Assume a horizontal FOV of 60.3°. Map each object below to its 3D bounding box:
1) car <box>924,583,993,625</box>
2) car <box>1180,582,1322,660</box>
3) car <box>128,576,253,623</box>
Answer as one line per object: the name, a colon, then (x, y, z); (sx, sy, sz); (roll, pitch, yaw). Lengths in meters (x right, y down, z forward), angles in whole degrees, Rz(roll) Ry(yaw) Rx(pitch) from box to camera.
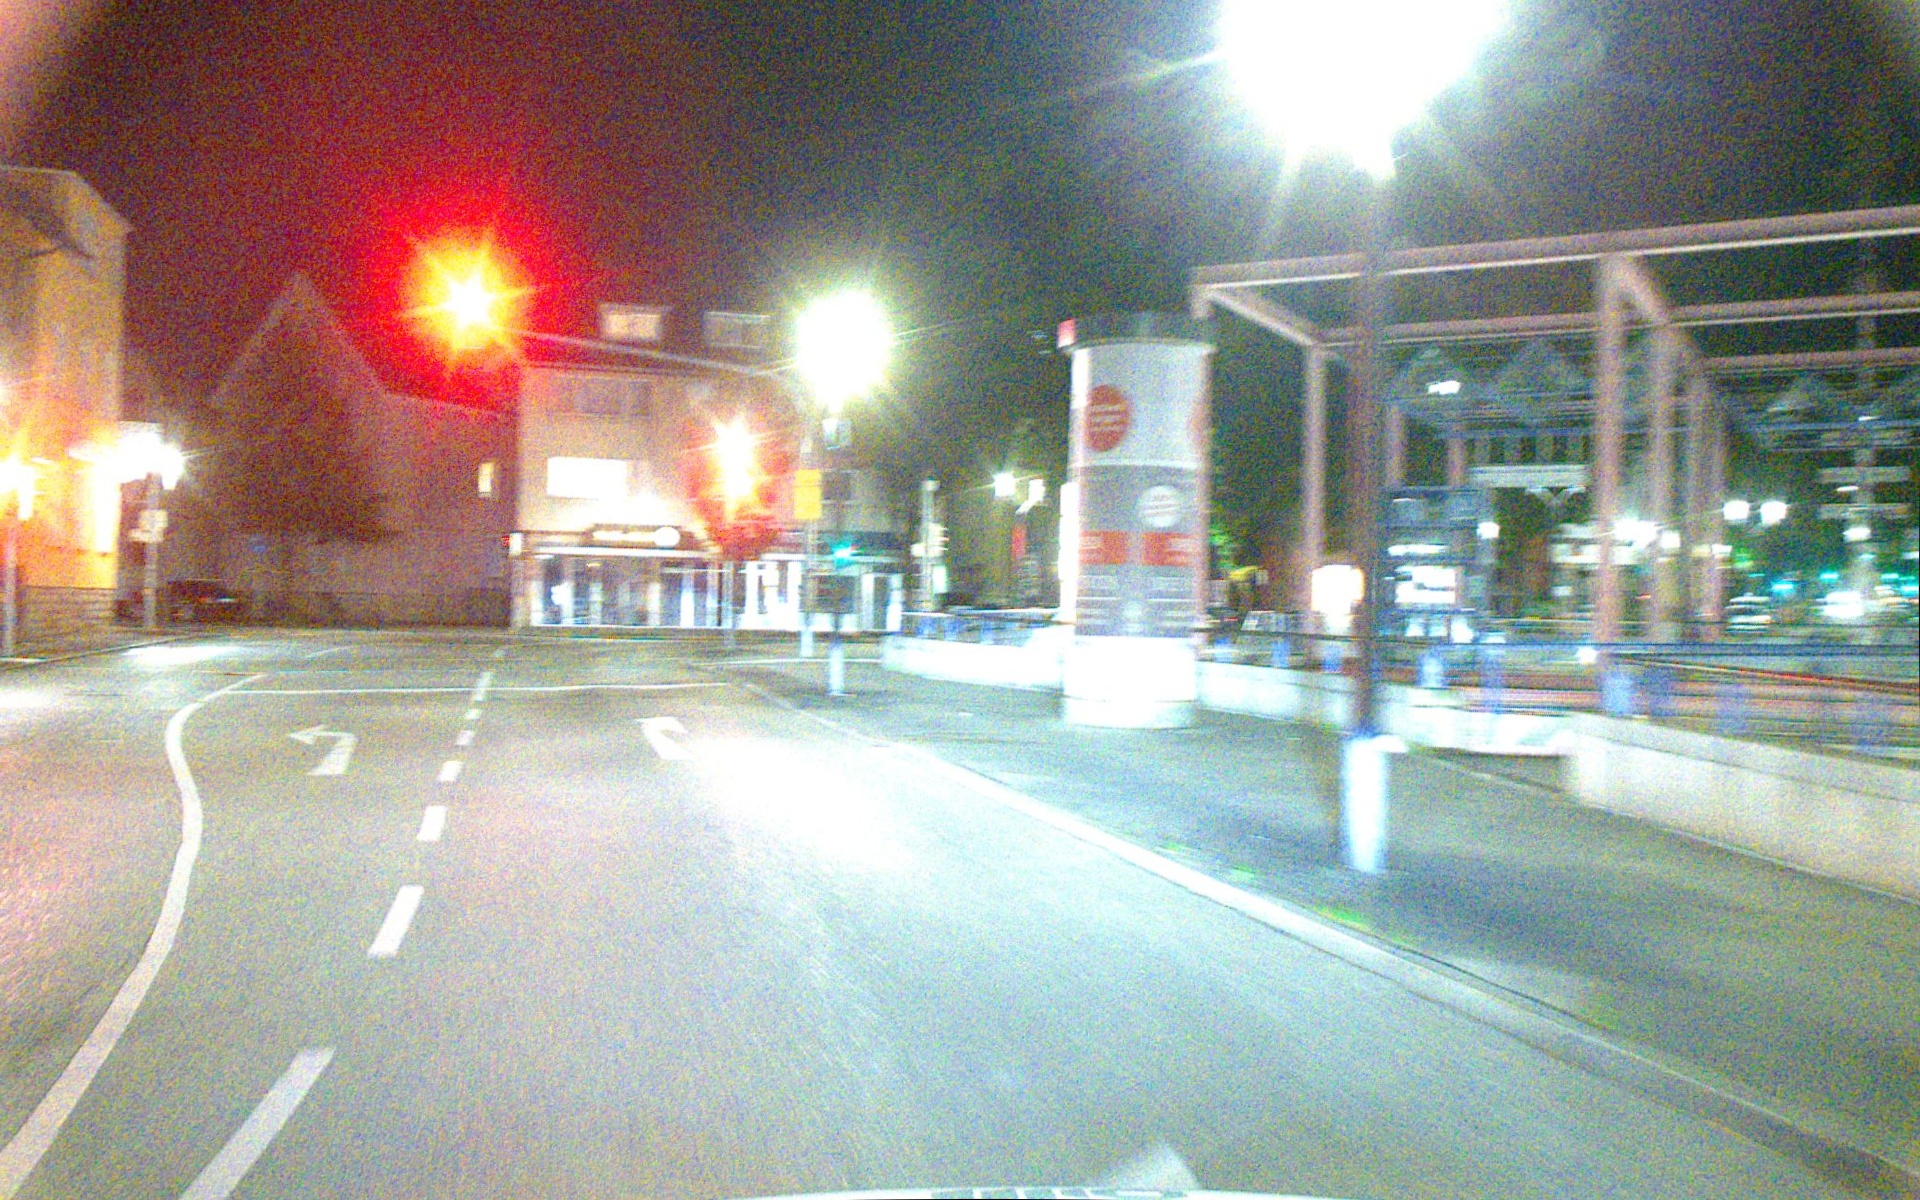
car: (-0.082, 0.136, 64.083); (1.959, 1.601, 3.643); (1, 0, -12)
car: (6.514, 0.417, 36.707); (1.955, 1.601, 4.324); (1, 0, 27)
car: (-27.944, 0.000, 60.048); (4.231, 1.601, 1.997); (-1, -1, 28)
